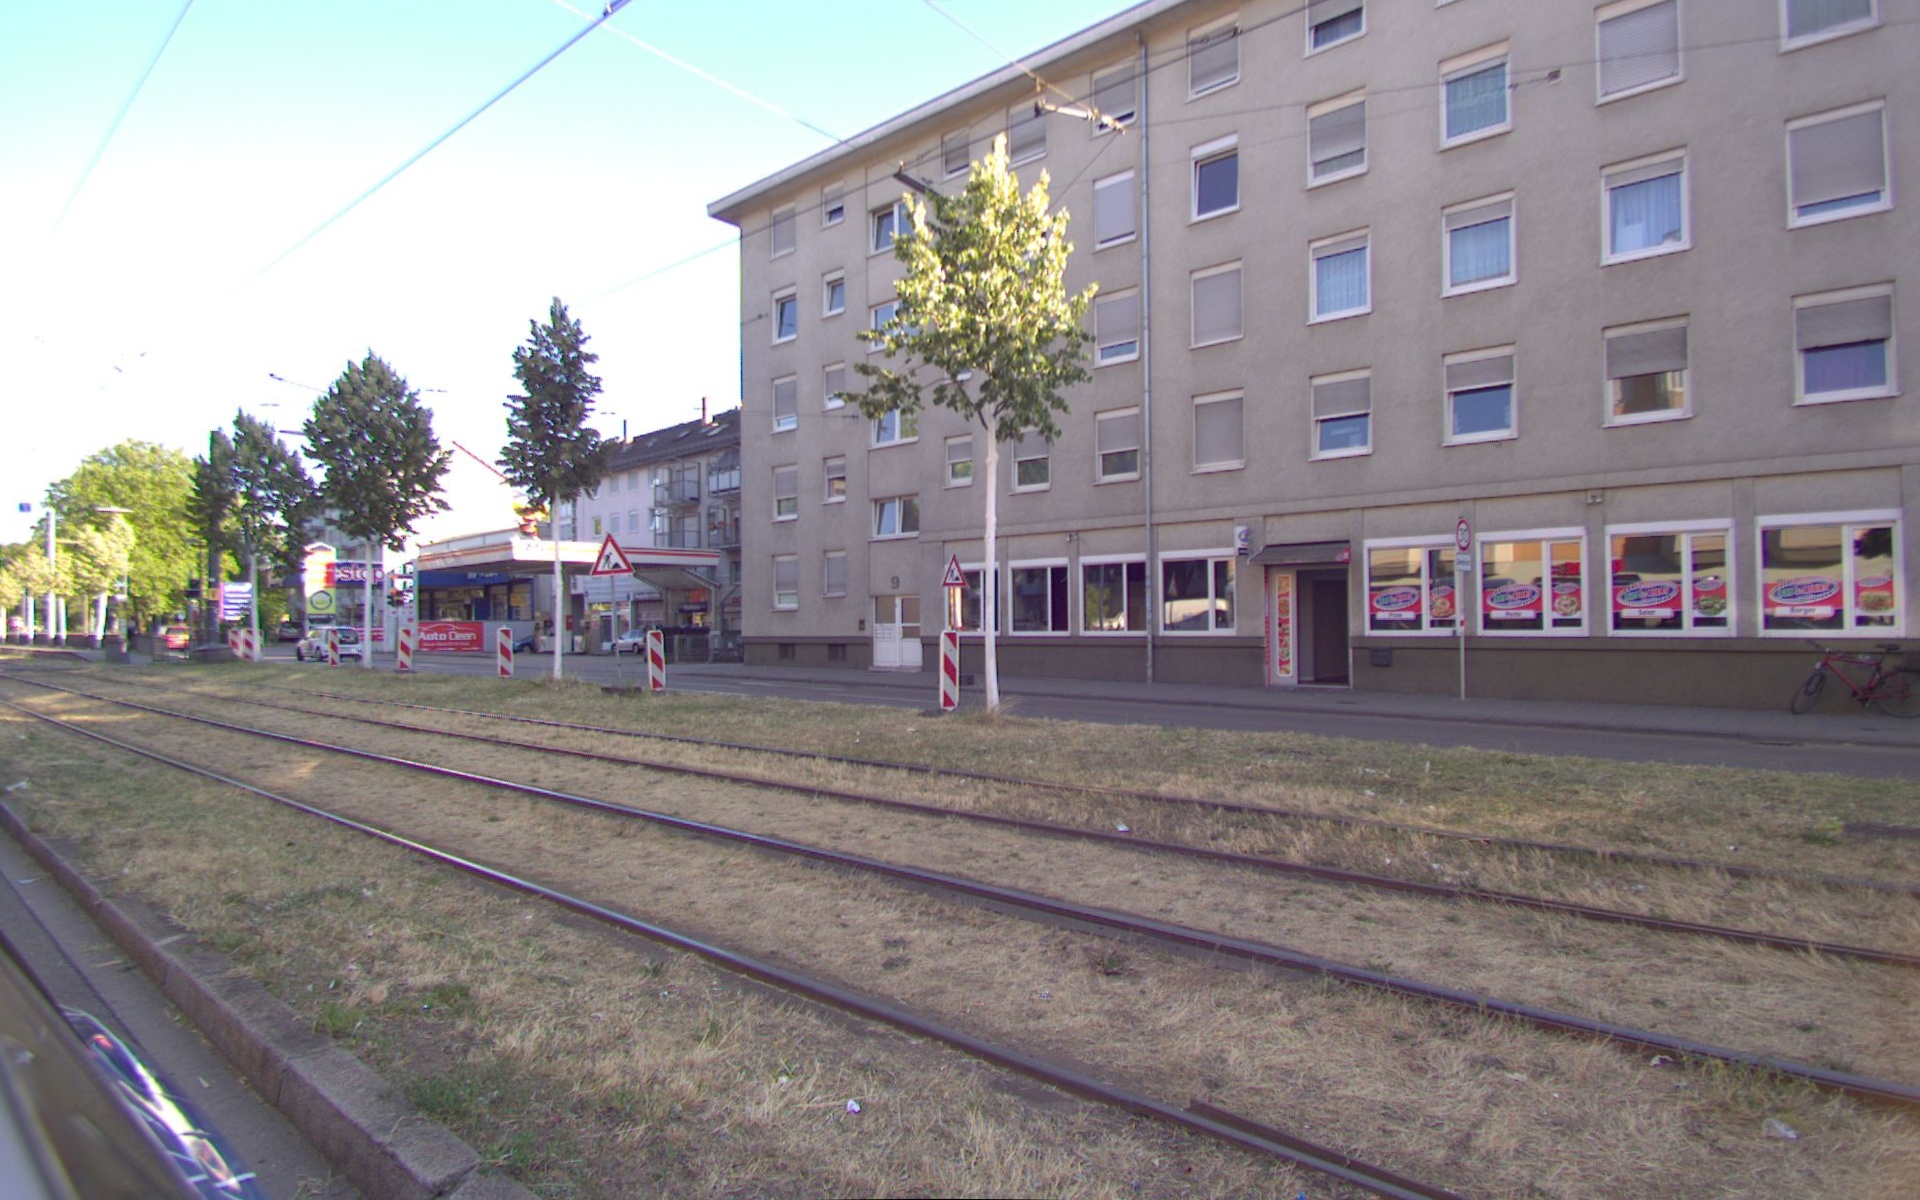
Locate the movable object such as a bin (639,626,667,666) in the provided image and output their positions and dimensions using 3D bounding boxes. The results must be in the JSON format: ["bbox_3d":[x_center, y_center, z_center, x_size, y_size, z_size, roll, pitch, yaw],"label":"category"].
[{"bbox_3d":[-11.072,1.645,36.479,0.748,1.411,0.656,-2,-3,39],"label":"movable object such as a bin"}]

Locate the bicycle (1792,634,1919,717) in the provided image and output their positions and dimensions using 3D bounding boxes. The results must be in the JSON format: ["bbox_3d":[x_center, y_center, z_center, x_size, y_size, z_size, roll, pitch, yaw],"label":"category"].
[{"bbox_3d":[12.991,1.054,14.378,1.777,1.123,0.739,-2,-2,41],"label":"bicycle"}]

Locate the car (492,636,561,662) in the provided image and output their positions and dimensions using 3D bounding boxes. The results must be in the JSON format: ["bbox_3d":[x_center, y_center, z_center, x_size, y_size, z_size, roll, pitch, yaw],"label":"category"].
[{"bbox_3d":[-28.196,3.164,65.844,1.818,1.535,3.752,-2,-2,43],"label":"car"}]

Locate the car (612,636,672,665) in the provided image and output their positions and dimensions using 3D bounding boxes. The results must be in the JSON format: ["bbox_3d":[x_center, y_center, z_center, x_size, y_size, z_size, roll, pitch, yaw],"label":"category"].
[{"bbox_3d":[-18.696,2.920,59.383,3.830,1.535,1.791,-1,0,45],"label":"car"}]

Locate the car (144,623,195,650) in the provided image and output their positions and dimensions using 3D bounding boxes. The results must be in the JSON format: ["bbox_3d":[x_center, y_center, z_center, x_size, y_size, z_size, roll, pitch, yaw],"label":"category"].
[{"bbox_3d":[-48.850,2.216,62.511,4.936,1.572,1.791,-1,-2,44],"label":"car"}]

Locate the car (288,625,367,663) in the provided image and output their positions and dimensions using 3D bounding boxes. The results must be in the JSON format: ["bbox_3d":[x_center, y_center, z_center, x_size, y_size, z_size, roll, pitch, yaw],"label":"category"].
[{"bbox_3d":[-26.834,1.838,42.922,3.827,1.523,1.793,-1,-3,41],"label":"car"}]
